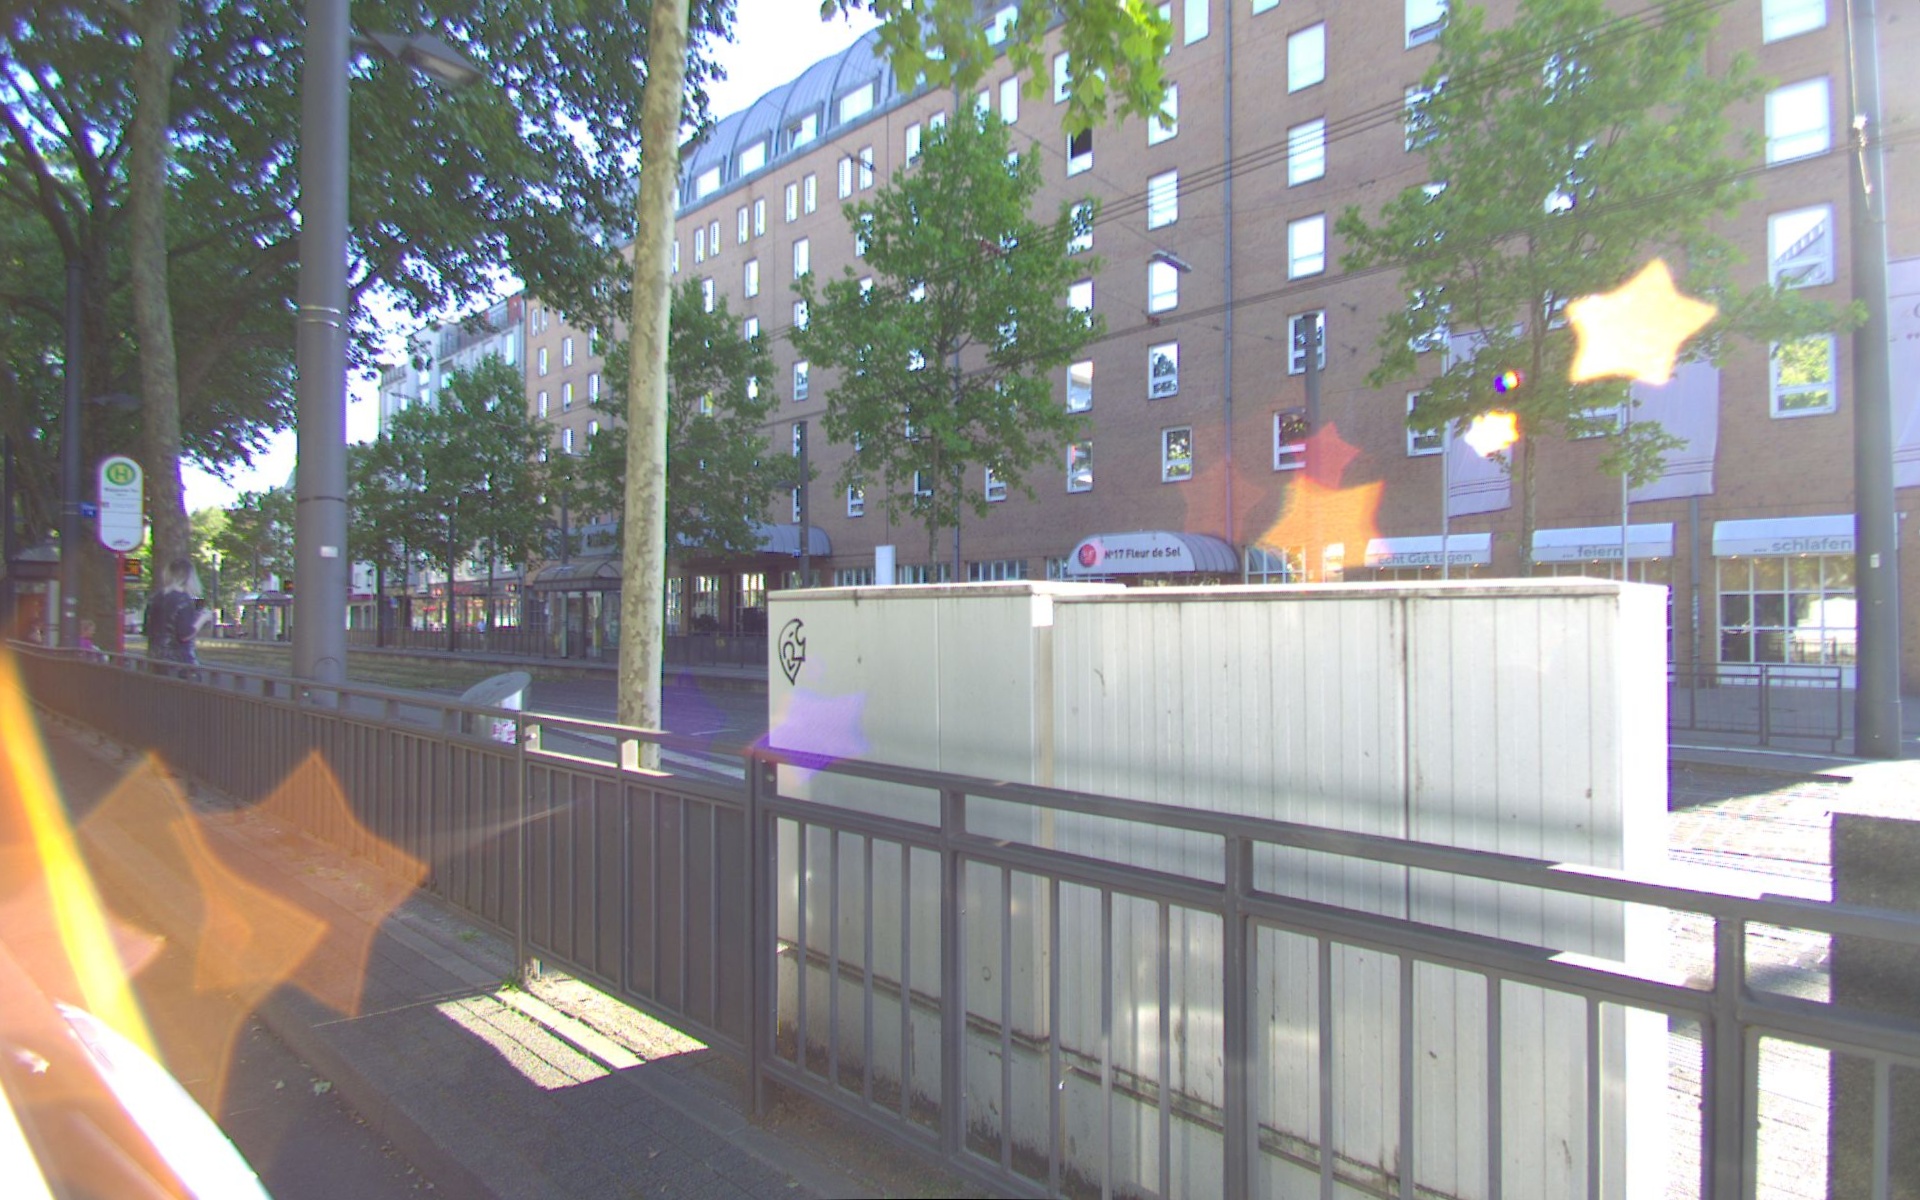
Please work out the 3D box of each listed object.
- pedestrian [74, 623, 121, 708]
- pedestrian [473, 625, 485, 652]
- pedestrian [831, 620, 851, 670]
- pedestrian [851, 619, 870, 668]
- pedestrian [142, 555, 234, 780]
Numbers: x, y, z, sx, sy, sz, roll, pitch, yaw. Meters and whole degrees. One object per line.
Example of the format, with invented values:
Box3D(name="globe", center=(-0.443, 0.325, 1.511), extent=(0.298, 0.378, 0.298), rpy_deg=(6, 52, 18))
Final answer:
Box3D(name="pedestrian", center=(-13.976, 1.040, 16.413), extent=(0.534, 1.327, 0.525), rpy_deg=(-1, 0, -37))
Box3D(name="pedestrian", center=(-31.128, 2.514, 65.527), extent=(0.574, 1.748, 0.497), rpy_deg=(-2, -2, 43))
Box3D(name="pedestrian", center=(-4.191, 1.565, 35.656), extent=(0.472, 1.748, 0.545), rpy_deg=(1, -2, -42))
Box3D(name="pedestrian", center=(-3.571, 1.557, 36.211), extent=(0.437, 1.748, 0.545), rpy_deg=(1, -2, -42))
Box3D(name="pedestrian", center=(-6.613, 0.550, 8.669), extent=(0.524, 1.848, 0.536), rpy_deg=(-1, 0, 43))
